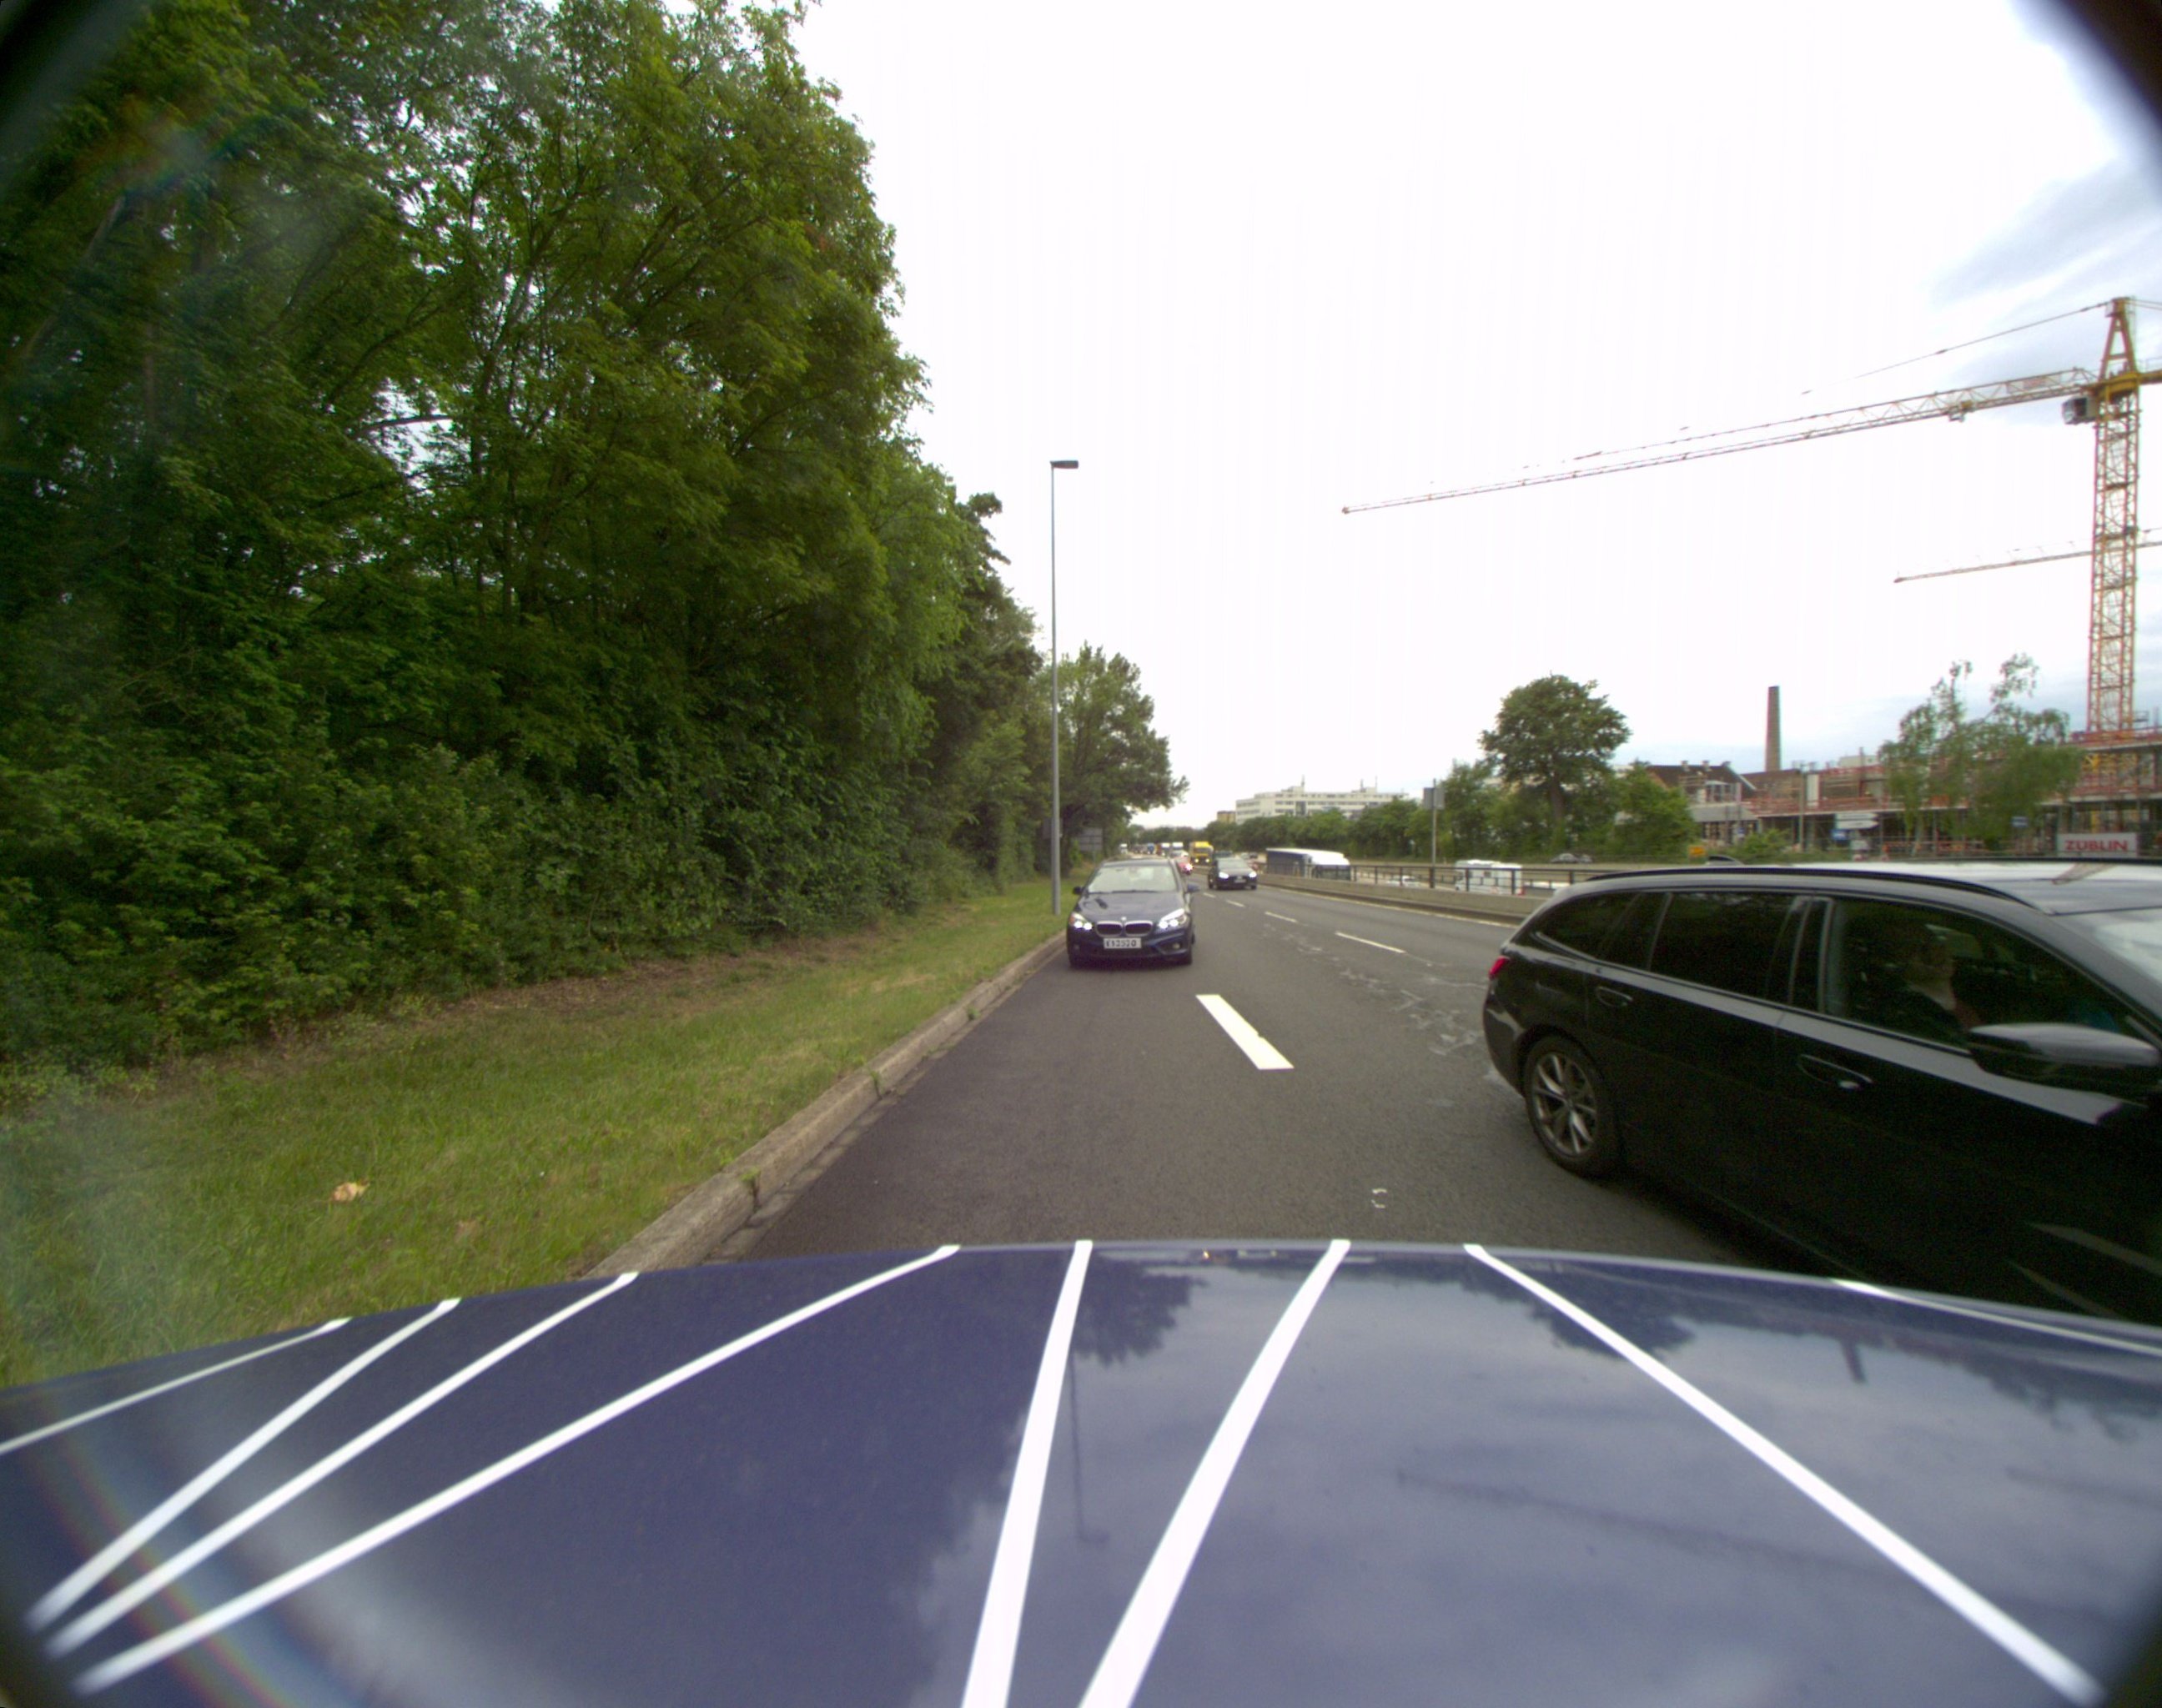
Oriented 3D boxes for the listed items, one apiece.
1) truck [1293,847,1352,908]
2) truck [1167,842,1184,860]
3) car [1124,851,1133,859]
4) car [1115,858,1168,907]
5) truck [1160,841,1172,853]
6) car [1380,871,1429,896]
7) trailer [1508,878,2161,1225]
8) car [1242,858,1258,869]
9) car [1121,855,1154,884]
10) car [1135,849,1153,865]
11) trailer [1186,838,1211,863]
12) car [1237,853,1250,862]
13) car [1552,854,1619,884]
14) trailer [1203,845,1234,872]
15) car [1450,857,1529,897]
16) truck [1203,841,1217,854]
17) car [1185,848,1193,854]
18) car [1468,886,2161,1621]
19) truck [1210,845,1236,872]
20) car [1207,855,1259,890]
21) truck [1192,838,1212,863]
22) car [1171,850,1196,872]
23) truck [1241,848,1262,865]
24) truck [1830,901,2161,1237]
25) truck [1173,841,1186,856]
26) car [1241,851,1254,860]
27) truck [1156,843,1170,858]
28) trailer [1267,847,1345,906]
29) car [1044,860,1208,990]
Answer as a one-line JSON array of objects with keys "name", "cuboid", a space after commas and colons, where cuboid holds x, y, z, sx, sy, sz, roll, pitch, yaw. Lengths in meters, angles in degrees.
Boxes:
[{"name": "truck", "cuboid": [16.627, 1.509, 52.758, 2.530, 4.013, 6.098, 0, 1, 4]}, {"name": "truck", "cuboid": [16.324, -0.634, 131.846, 2.523, 2.961, 13.783, 0, 1, 6]}, {"name": "car", "cuboid": [12.364, 0.219, 198.072, 1.998, 2.002, 4.000, -1, 0, 1]}, {"name": "car", "cuboid": [2.055, 0.920, 26.137, 1.627, 1.433, 4.001, -2, 0, 4]}, {"name": "truck", "cuboid": [27.528, -2.242, 246.759, 2.530, 4.013, 13.778, 0, 1, 2]}, {"name": "car", "cuboid": [28.526, 2.545, 67.243, 1.998, 2.002, 5.486, -1, 0, 1]}, {"name": "trailer", "cuboid": [15.237, 2.857, 17.356, 2.658, 4.013, 14.552, 0, 1, 0]}, {"name": "car", "cuboid": [23.930, 1.331, 107.764, 1.627, 1.433, 4.001, -2, 0, 4]}, {"name": "car", "cuboid": [3.040, 0.804, 41.125, 1.627, 1.433, 4.001, -2, 0, 4]}, {"name": "car", "cuboid": [8.119, 0.367, 97.631, 1.998, 2.002, 4.000, -1, 0, 1]}, {"name": "trailer", "cuboid": [22.015, -0.757, 143.417, 2.897, 4.328, 19.925, 0, 1, 4]}, {"name": "car", "cuboid": [26.776, 0.533, 125.370, 1.627, 1.433, 4.001, -2, 0, 4]}, {"name": "car", "cuboid": [43.401, 1.262, 65.530, 2.341, 2.446, 5.227, -1, 0, 1]}, {"name": "trailer", "cuboid": [19.745, 0.503, 110.367, 2.613, 3.620, 16.753, 0, 1, 4]}, {"name": "car", "cuboid": [32.732, 1.760, 61.266, 2.514, 3.011, 7.514, -1, 0, 2]}, {"name": "truck", "cuboid": [43.891, -2.229, 259.530, 3.069, 4.013, 13.780, 0, 1, 3]}, {"name": "car", "cuboid": [31.678, -0.880, 223.093, 1.998, 1.543, 4.000, -2, 0, 1]}, {"name": "car", "cuboid": [3.095, 0.873, 2.040, 1.753, 1.418, 4.461, -1, -1, -1]}, {"name": "truck", "cuboid": [19.250, 0.552, 103.185, 2.644, 3.614, 6.669, 0, 1, 4]}, {"name": "car", "cuboid": [7.067, 0.826, 35.686, 1.702, 1.433, 4.000, -2, 0, 2]}, {"name": "truck", "cuboid": [21.390, -0.626, 134.225, 2.892, 4.319, 6.520, 0, 1, 4]}, {"name": "car", "cuboid": [8.851, 0.629, 65.878, 1.768, 1.785, 4.580, 1, -2, 4]}, {"name": "truck", "cuboid": [41.684, 0.506, 185.742, 2.956, 4.013, 13.781, 0, 1, 4]}, {"name": "truck", "cuboid": [15.224, 2.904, 10.920, 2.712, 4.013, 6.201, 0, 1, -1]}, {"name": "truck", "cuboid": [26.518, -1.460, 205.105, 2.955, 4.013, 13.783, 0, 1, 6]}, {"name": "car", "cuboid": [36.954, 0.336, 168.781, 1.998, 2.002, 5.487, -1, 0, 3]}, {"name": "truck", "cuboid": [18.446, -0.838, 170.991, 2.955, 3.167, 13.783, 0, 1, 6]}, {"name": "trailer", "cuboid": [16.982, 1.457, 58.735, 2.530, 4.013, 14.786, 0, 1, 4]}, {"name": "car", "cuboid": [0.925, 0.940, 11.945, 1.782, 1.554, 4.426, -2, 0, 13]}]
